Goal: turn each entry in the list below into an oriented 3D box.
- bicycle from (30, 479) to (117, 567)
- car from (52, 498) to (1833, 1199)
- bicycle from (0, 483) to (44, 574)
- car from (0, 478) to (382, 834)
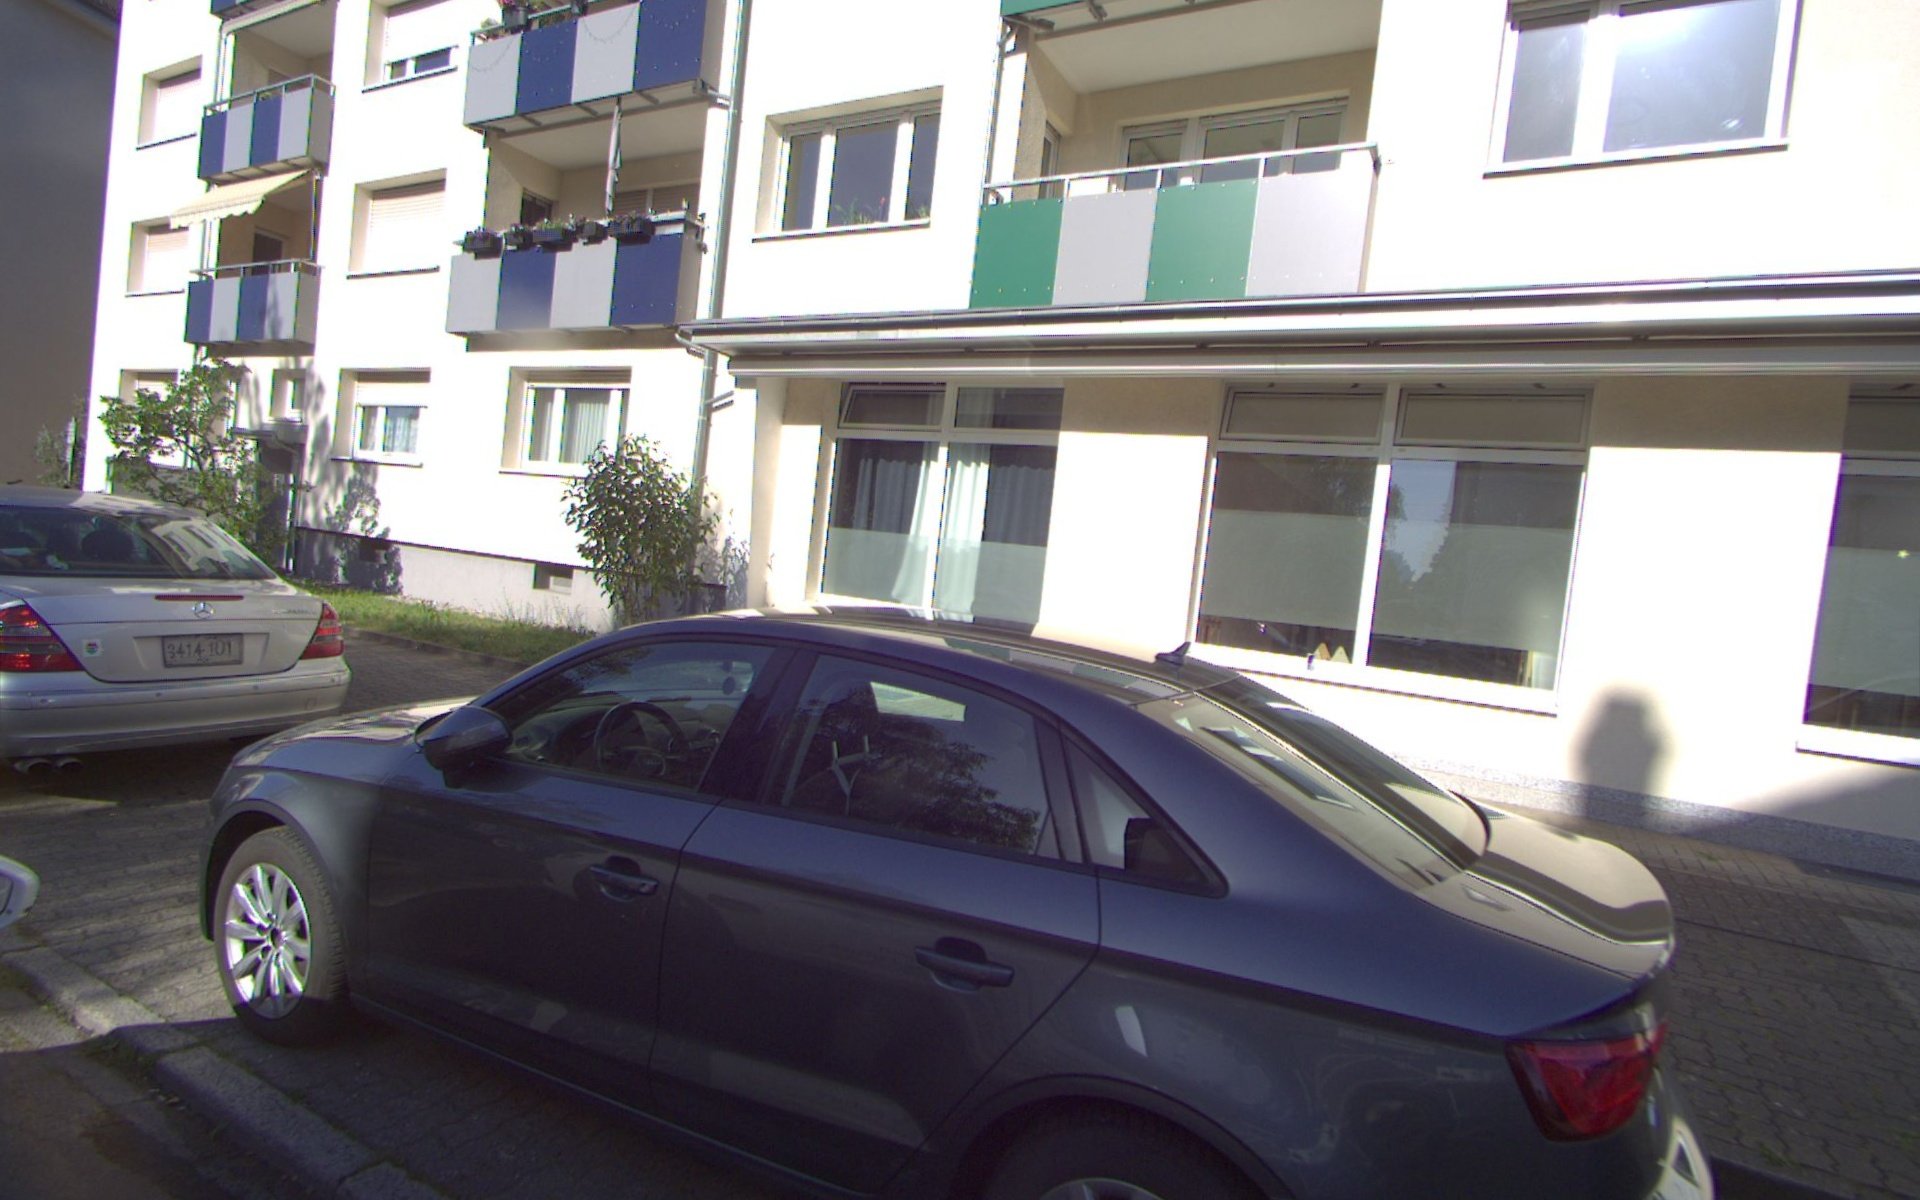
[{"bbox_3d":[-13.905,-1.217,15.758,1.803,1.219,0.514,7,4,32],"label":"bicycle"},{"bbox_3d":[-0.570,0.663,3.060,4.465,1.424,1.682,7,-1,27],"label":"car"},{"bbox_3d":[-13.973,-1.078,14.701,1.733,1.219,0.514,7,4,36],"label":"bicycle"},{"bbox_3d":[-5.613,0.024,5.831,4.642,1.466,1.680,7,2,28],"label":"car"}]
